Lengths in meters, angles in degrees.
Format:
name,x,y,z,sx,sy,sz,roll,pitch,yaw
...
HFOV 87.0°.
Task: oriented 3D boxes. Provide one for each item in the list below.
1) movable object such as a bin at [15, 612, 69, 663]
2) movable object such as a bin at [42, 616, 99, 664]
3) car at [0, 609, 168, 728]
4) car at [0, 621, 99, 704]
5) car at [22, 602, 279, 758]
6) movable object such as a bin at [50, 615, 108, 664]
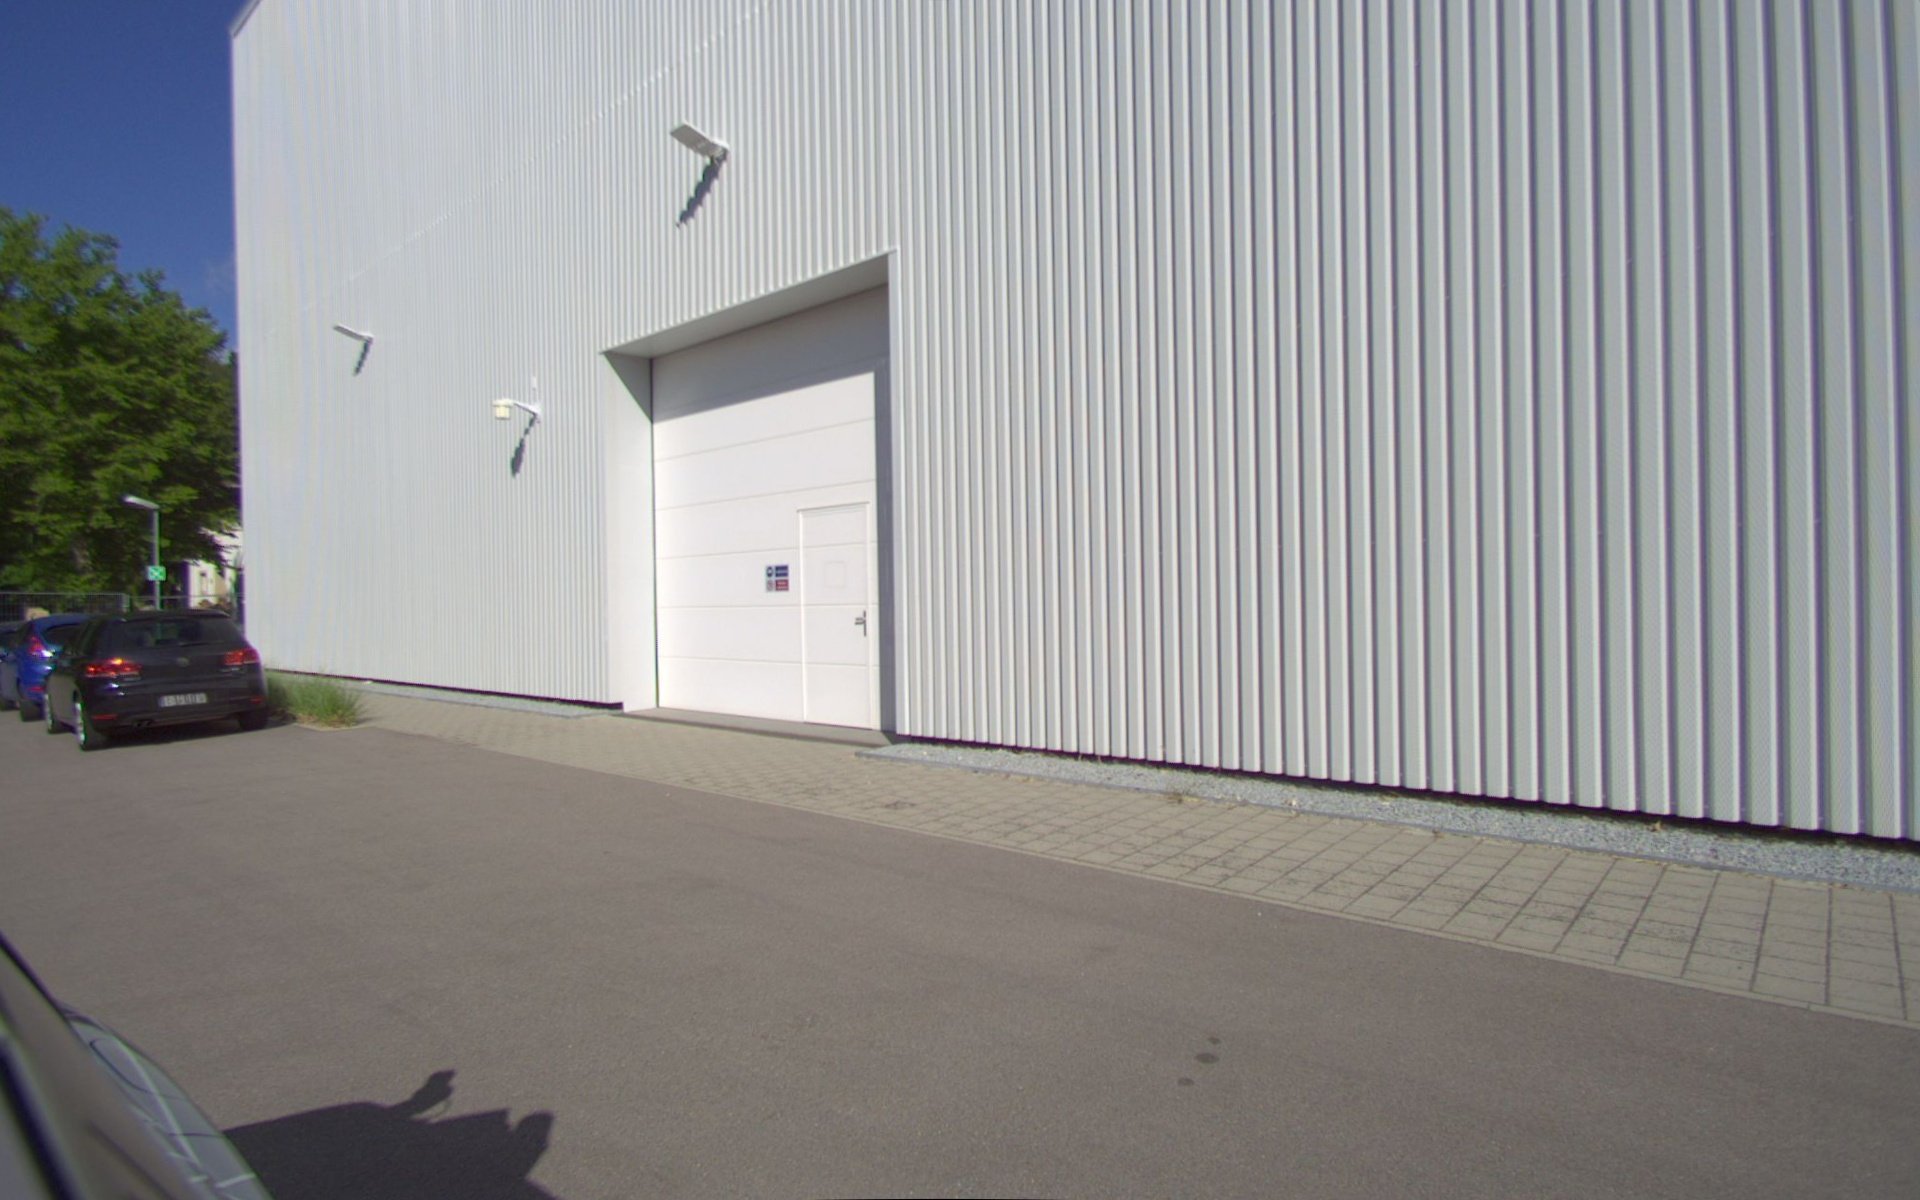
name,x,y,z,sx,sy,sz,roll,pitch,yaw
movable object such as a bin,-30.278,1.211,33.389,1.228,1.609,1.080,1,1,36
movable object such as a bin,-28.549,1.251,32.486,1.228,1.450,1.080,0,2,36
car,-13.746,0.968,15.575,4.092,1.511,1.614,-1,2,41
car,-17.865,1.134,19.171,4.051,1.371,1.756,-1,0,41
car,-10.022,0.856,12.402,4.293,1.511,1.736,-1,1,42
movable object such as a bin,-27.526,1.225,31.632,1.228,1.443,1.080,0,2,36
